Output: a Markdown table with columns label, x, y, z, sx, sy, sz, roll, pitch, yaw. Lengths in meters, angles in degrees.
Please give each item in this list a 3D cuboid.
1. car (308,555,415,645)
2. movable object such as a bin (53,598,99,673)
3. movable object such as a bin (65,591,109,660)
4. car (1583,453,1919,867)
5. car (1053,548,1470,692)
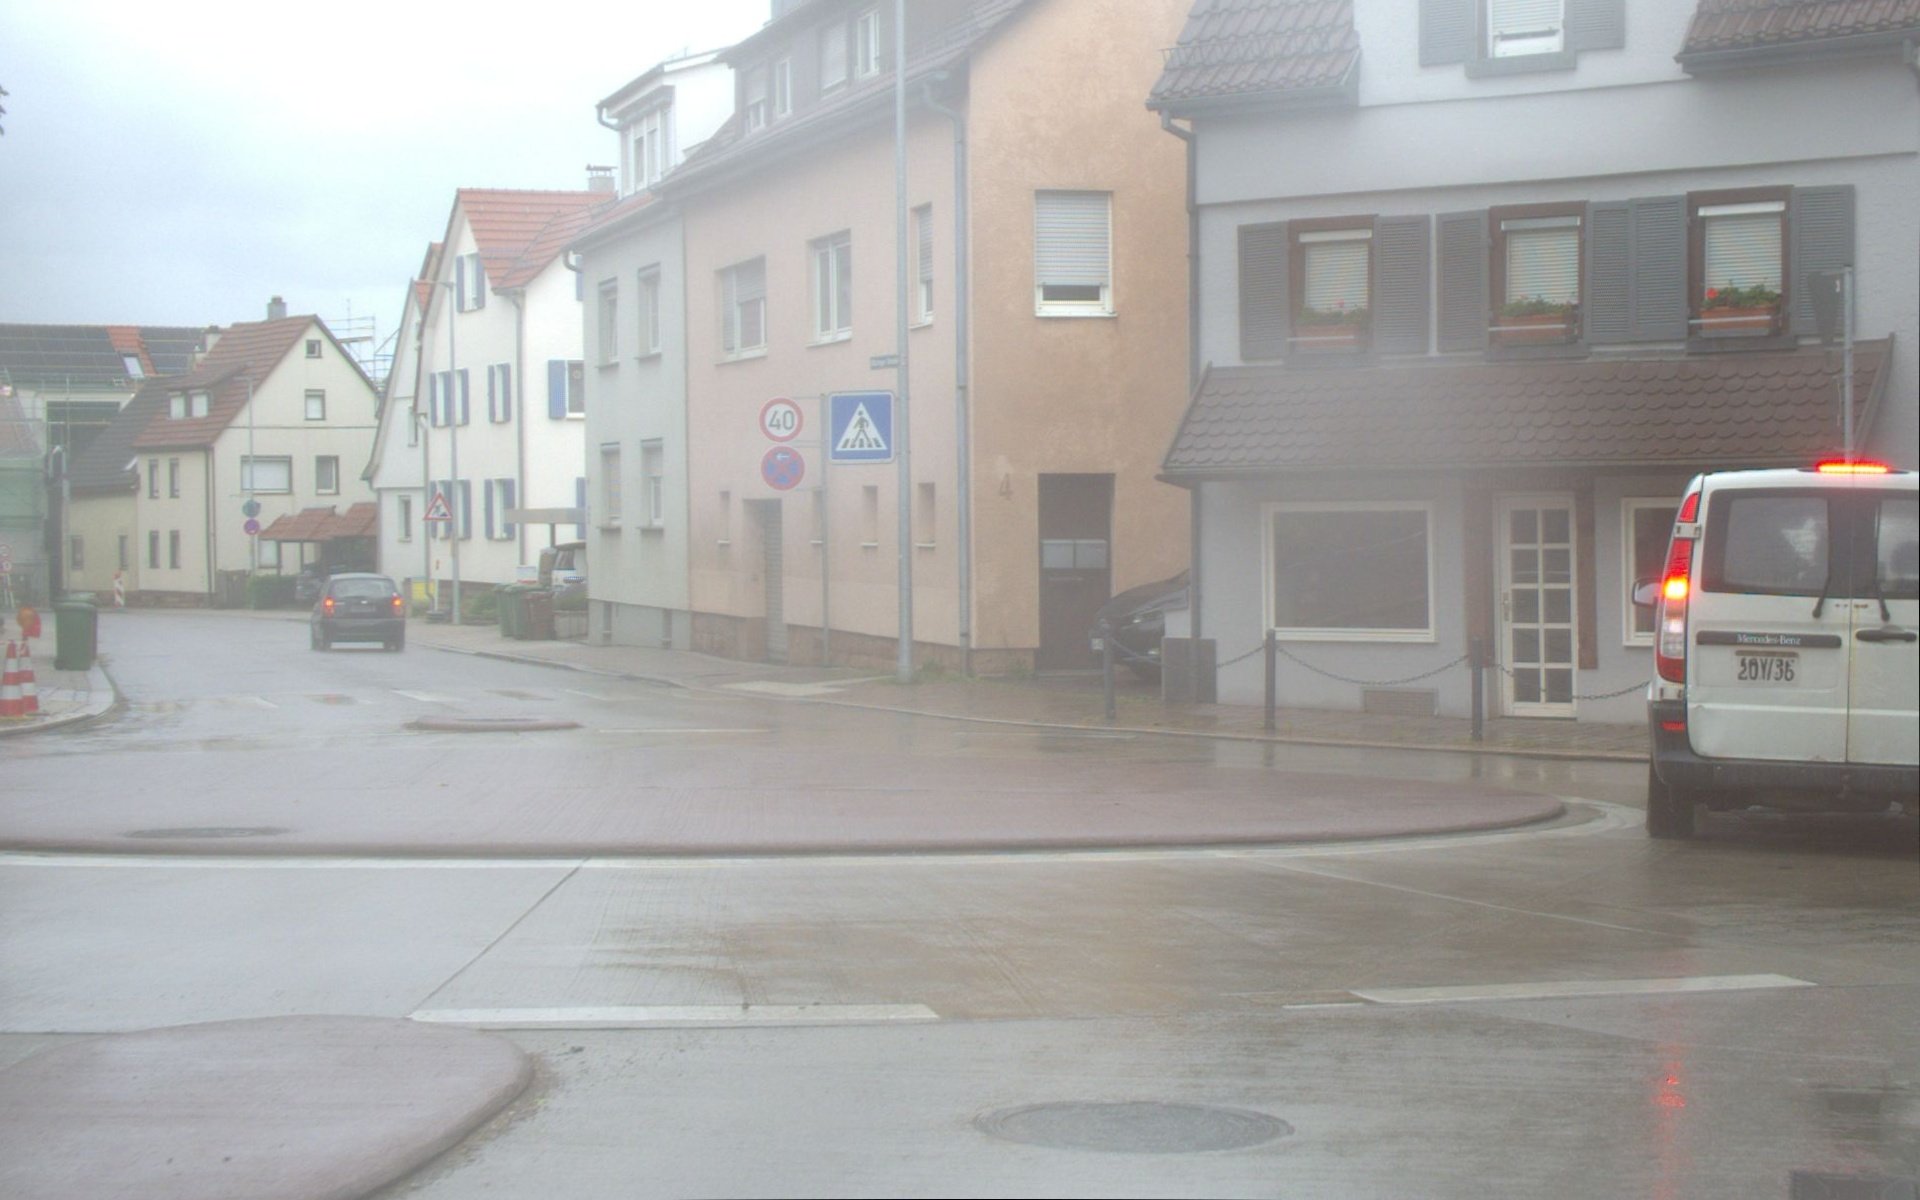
| label | x | y | z | sx | sy | sz | roll | pitch | yaw |
| --- | --- | --- | --- | --- | --- | --- | --- | --- | --- |
| car | -11.614 | 0.015 | 66.591 | 1.972 | 1.674 | 4.069 | 0 | 0 | -10 |
| movable object such as a bin | -13.992 | 0.553 | 54.413 | 0.626 | 1.169 | 0.762 | 1 | 0 | -19 |
| movable object such as a bin | -14.941 | 0.430 | 58.850 | 0.654 | 1.165 | 0.782 | 1 | 0 | -19 |
| car | 4.567 | 0.289 | 18.201 | 2.154 | 1.892 | 4.922 | 0 | 0 | 14 |
| car | 3.229 | 0.207 | 36.933 | 3.986 | 1.481 | 2.000 | 0 | 0 | -20 |
